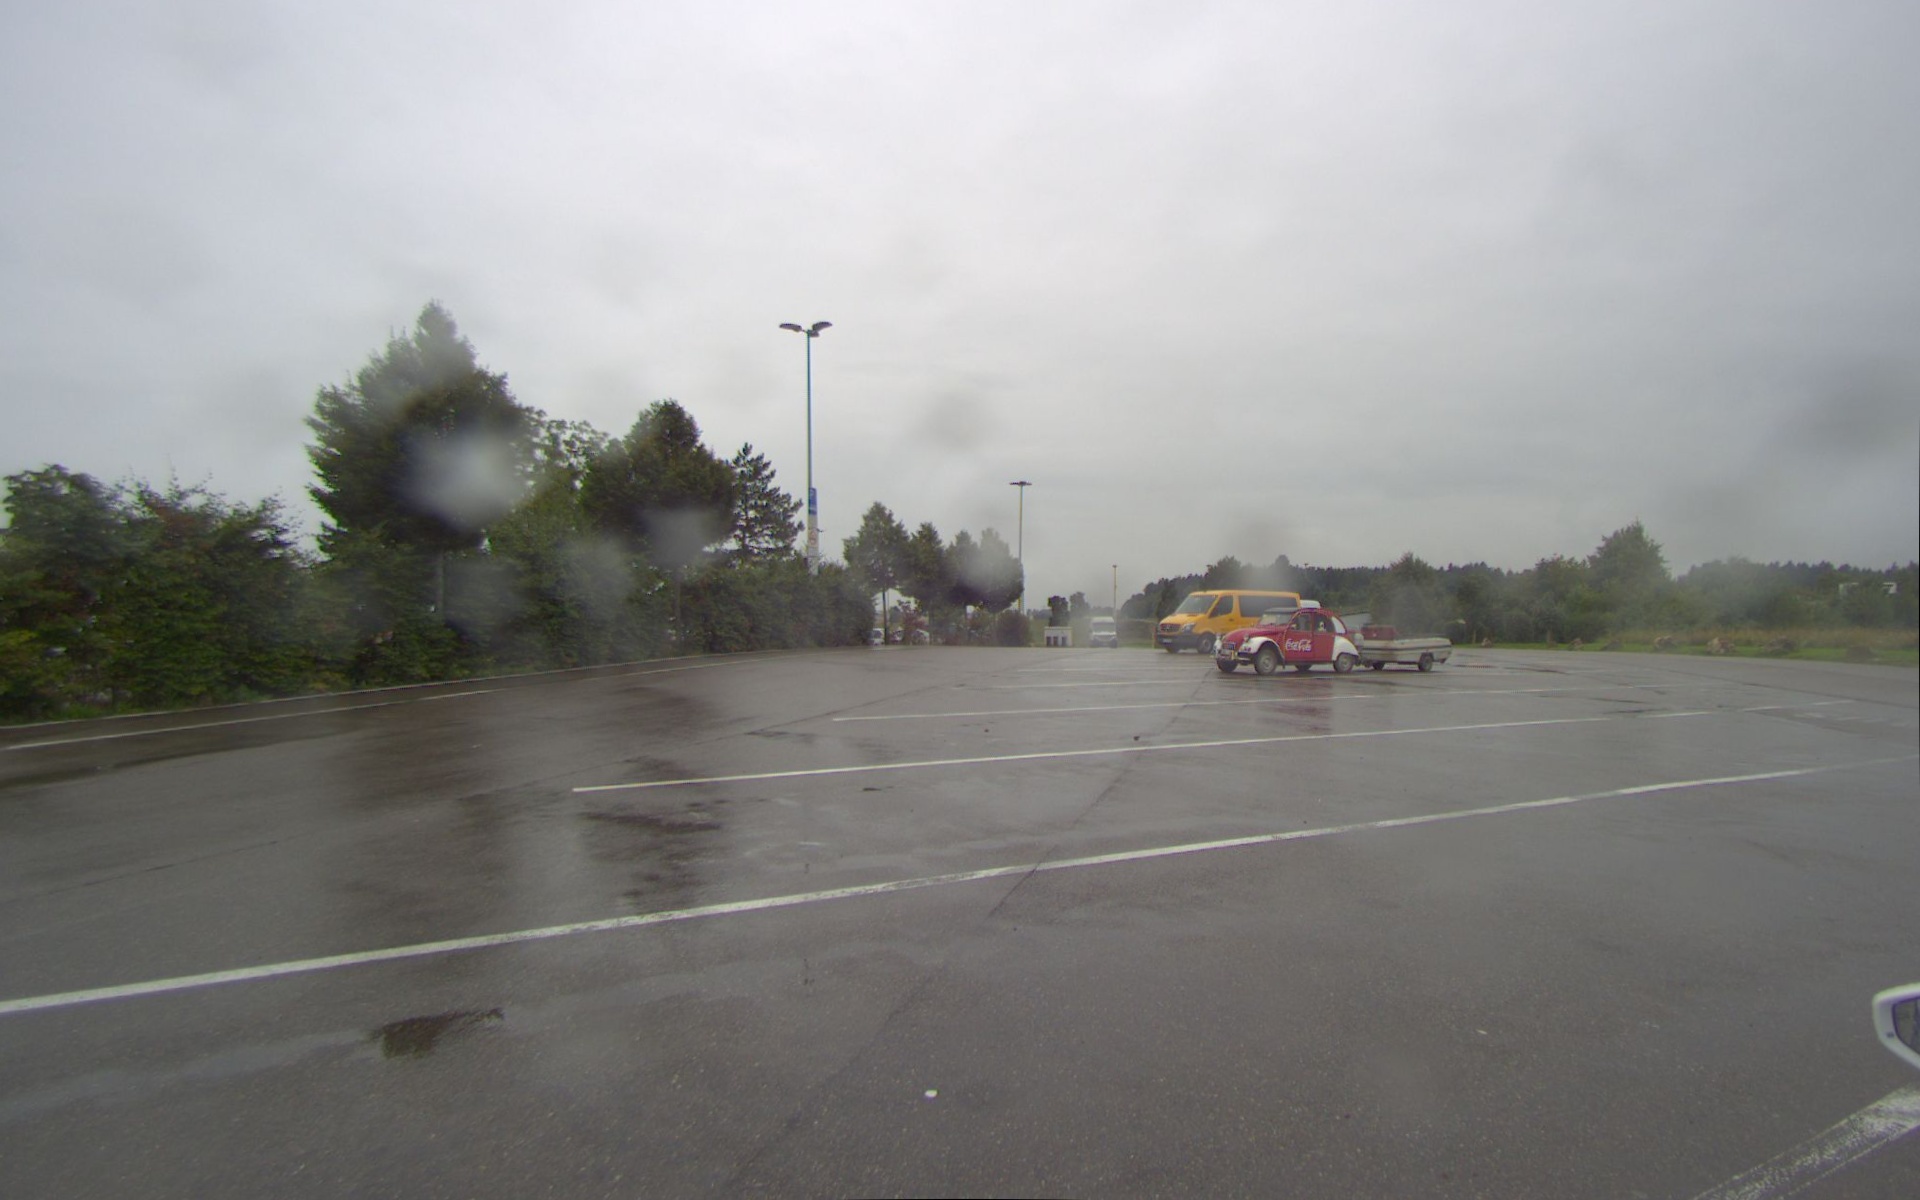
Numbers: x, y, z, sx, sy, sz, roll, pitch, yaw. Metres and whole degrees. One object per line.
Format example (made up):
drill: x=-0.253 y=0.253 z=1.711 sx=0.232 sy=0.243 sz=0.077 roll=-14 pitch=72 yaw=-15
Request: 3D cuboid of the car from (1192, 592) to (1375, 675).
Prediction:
car: x=7.563 y=0.786 z=23.456 sx=3.947 sy=1.800 sz=1.816 roll=1 pitch=-2 yaw=-26

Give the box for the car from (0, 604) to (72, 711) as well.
car: x=-13.448 y=0.691 z=12.719 sx=3.576 sy=1.286 sz=1.808 roll=1 pitch=0 yaw=20

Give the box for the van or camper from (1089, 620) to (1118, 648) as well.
van or camper: x=11.409 y=2.684 z=79.971 sx=1.960 sy=2.195 sz=4.002 roll=0 pitch=-1 yaw=4

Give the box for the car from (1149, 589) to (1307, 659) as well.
car: x=9.873 y=0.932 z=36.874 sx=5.954 sy=2.411 sz=1.985 roll=1 pitch=-3 yaw=-30

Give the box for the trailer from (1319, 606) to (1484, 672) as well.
trailer: x=11.091 y=0.953 z=25.222 sx=3.948 sy=1.553 sz=1.689 roll=0 pitch=-1 yaw=-27

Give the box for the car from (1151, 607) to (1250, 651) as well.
car: x=12.768 y=1.546 z=53.346 sx=4.690 sy=2.231 sz=1.995 roll=1 pitch=0 yaw=-13
